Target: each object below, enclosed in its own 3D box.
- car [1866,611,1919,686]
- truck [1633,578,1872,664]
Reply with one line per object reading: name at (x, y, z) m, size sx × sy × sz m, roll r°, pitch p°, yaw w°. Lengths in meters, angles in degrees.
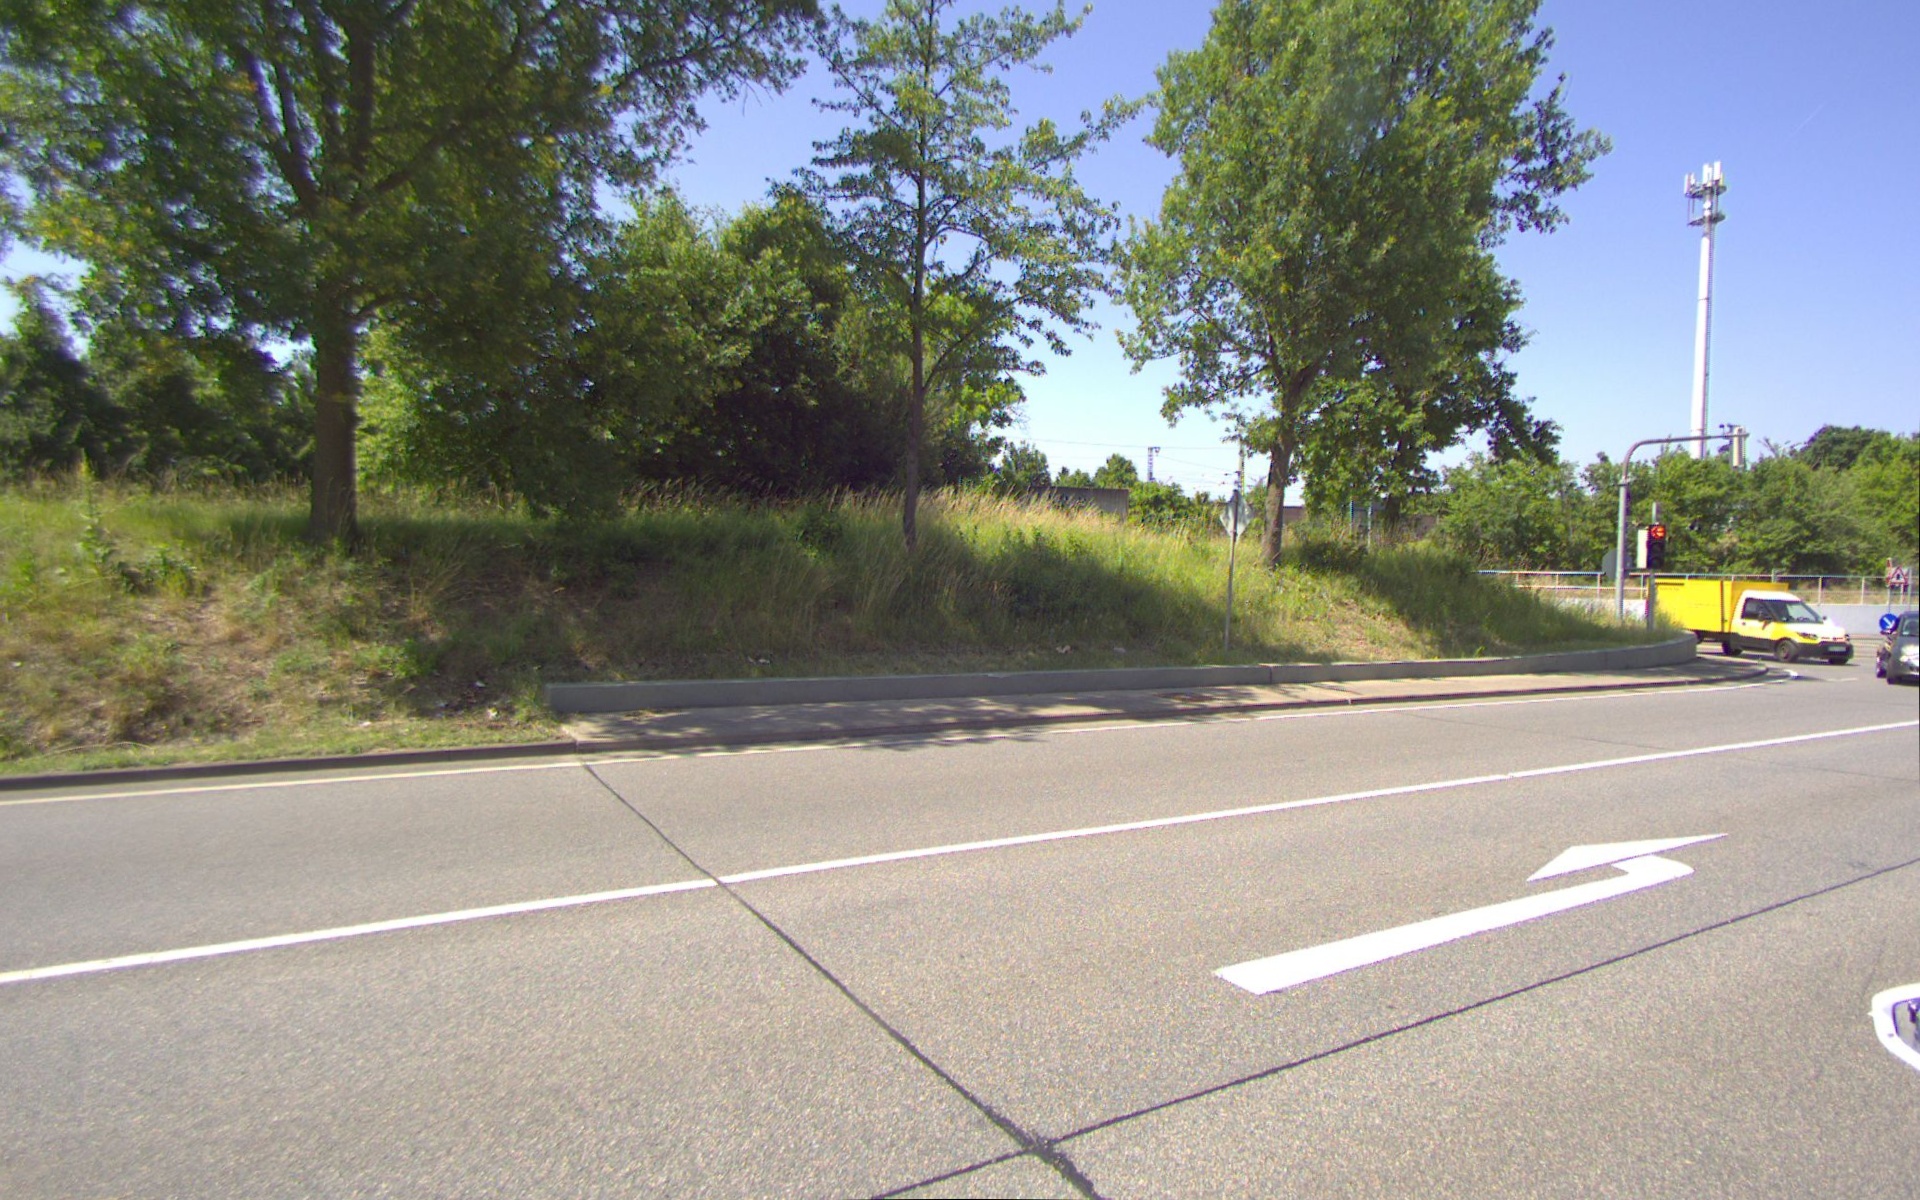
car at (20.683, 0.998, 21.475) m, size 1.566 × 1.489 × 3.587 m, roll 1°, pitch 0°, yaw 36°
truck at (23.426, 0.536, 30.133) m, size 1.947 × 2.305 × 6.018 m, roll 1°, pitch 0°, yaw -6°
